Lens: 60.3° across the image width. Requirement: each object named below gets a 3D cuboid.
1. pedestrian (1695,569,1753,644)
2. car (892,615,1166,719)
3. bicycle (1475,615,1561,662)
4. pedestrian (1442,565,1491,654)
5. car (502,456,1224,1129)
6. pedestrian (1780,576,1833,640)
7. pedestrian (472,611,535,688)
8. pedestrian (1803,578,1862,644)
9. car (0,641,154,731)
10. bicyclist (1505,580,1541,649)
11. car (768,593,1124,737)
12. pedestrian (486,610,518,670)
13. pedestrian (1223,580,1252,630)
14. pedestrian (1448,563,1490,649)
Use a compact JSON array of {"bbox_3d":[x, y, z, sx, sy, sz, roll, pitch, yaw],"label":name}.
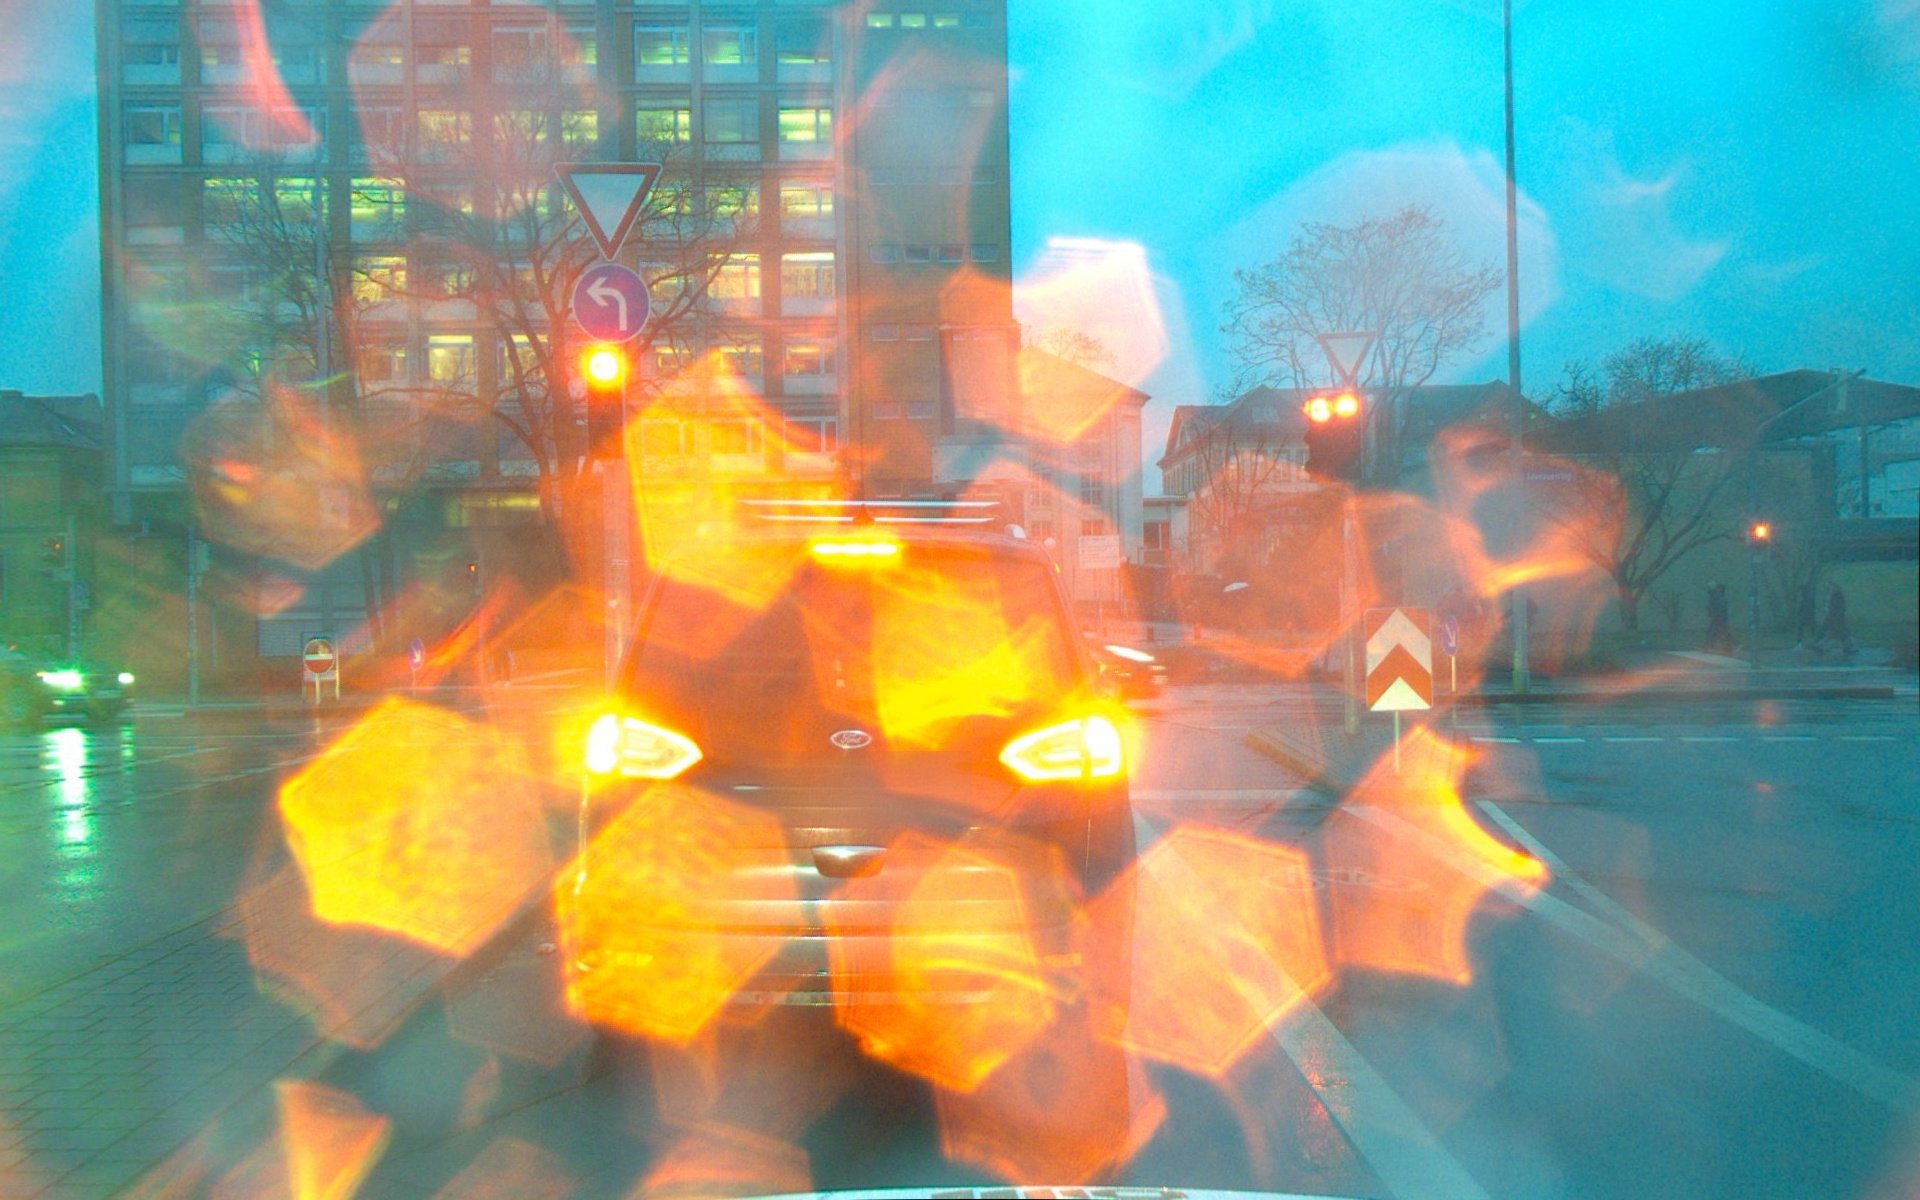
[{"bbox_3d":[19.111,0.151,41.390,0.976,1.831,0.919,-2,0,0],"label":"pedestrian"},{"bbox_3d":[1.017,0.931,23.329,3.674,1.324,1.702,-2,-1,8],"label":"car"},{"bbox_3d":[13.397,0.921,39.713,1.843,1.066,0.660,-2,0,9],"label":"bicycle"},{"bbox_3d":[12.589,0.222,41.104,0.875,2.150,0.886,-2,0,-1],"label":"pedestrian"},{"bbox_3d":[-0.288,0.541,6.546,1.953,1.821,3.999,1,0,-1],"label":"car"},{"bbox_3d":[21.212,0.195,41.477,0.874,1.559,0.886,-2,0,4],"label":"pedestrian"},{"bbox_3d":[-11.765,1.272,42.615,0.981,1.874,1.139,-2,2,22],"label":"pedestrian"},{"bbox_3d":[21.303,0.261,40.401,0.905,1.559,1.043,-2,0,5],"label":"pedestrian"},{"bbox_3d":[-15.711,1.404,26.774,4.584,1.324,1.940,-2,-1,13],"label":"car"},{"bbox_3d":[13.501,0.343,39.689,0.670,1.627,0.660,-2,0,9],"label":"bicyclist"},{"bbox_3d":[-0.120,0.783,20.345,4.035,1.610,1.843,-2,-1,12],"label":"car"},{"bbox_3d":[-13.396,1.160,48.389,0.625,1.718,0.637,-2,0,16],"label":"pedestrian"},{"bbox_3d":[9.505,0.163,56.601,0.706,1.656,0.760,-2,0,32],"label":"pedestrian"},{"bbox_3d":[12.939,0.139,42.091,0.874,2.150,0.886,-2,0,11],"label":"pedestrian"}]
